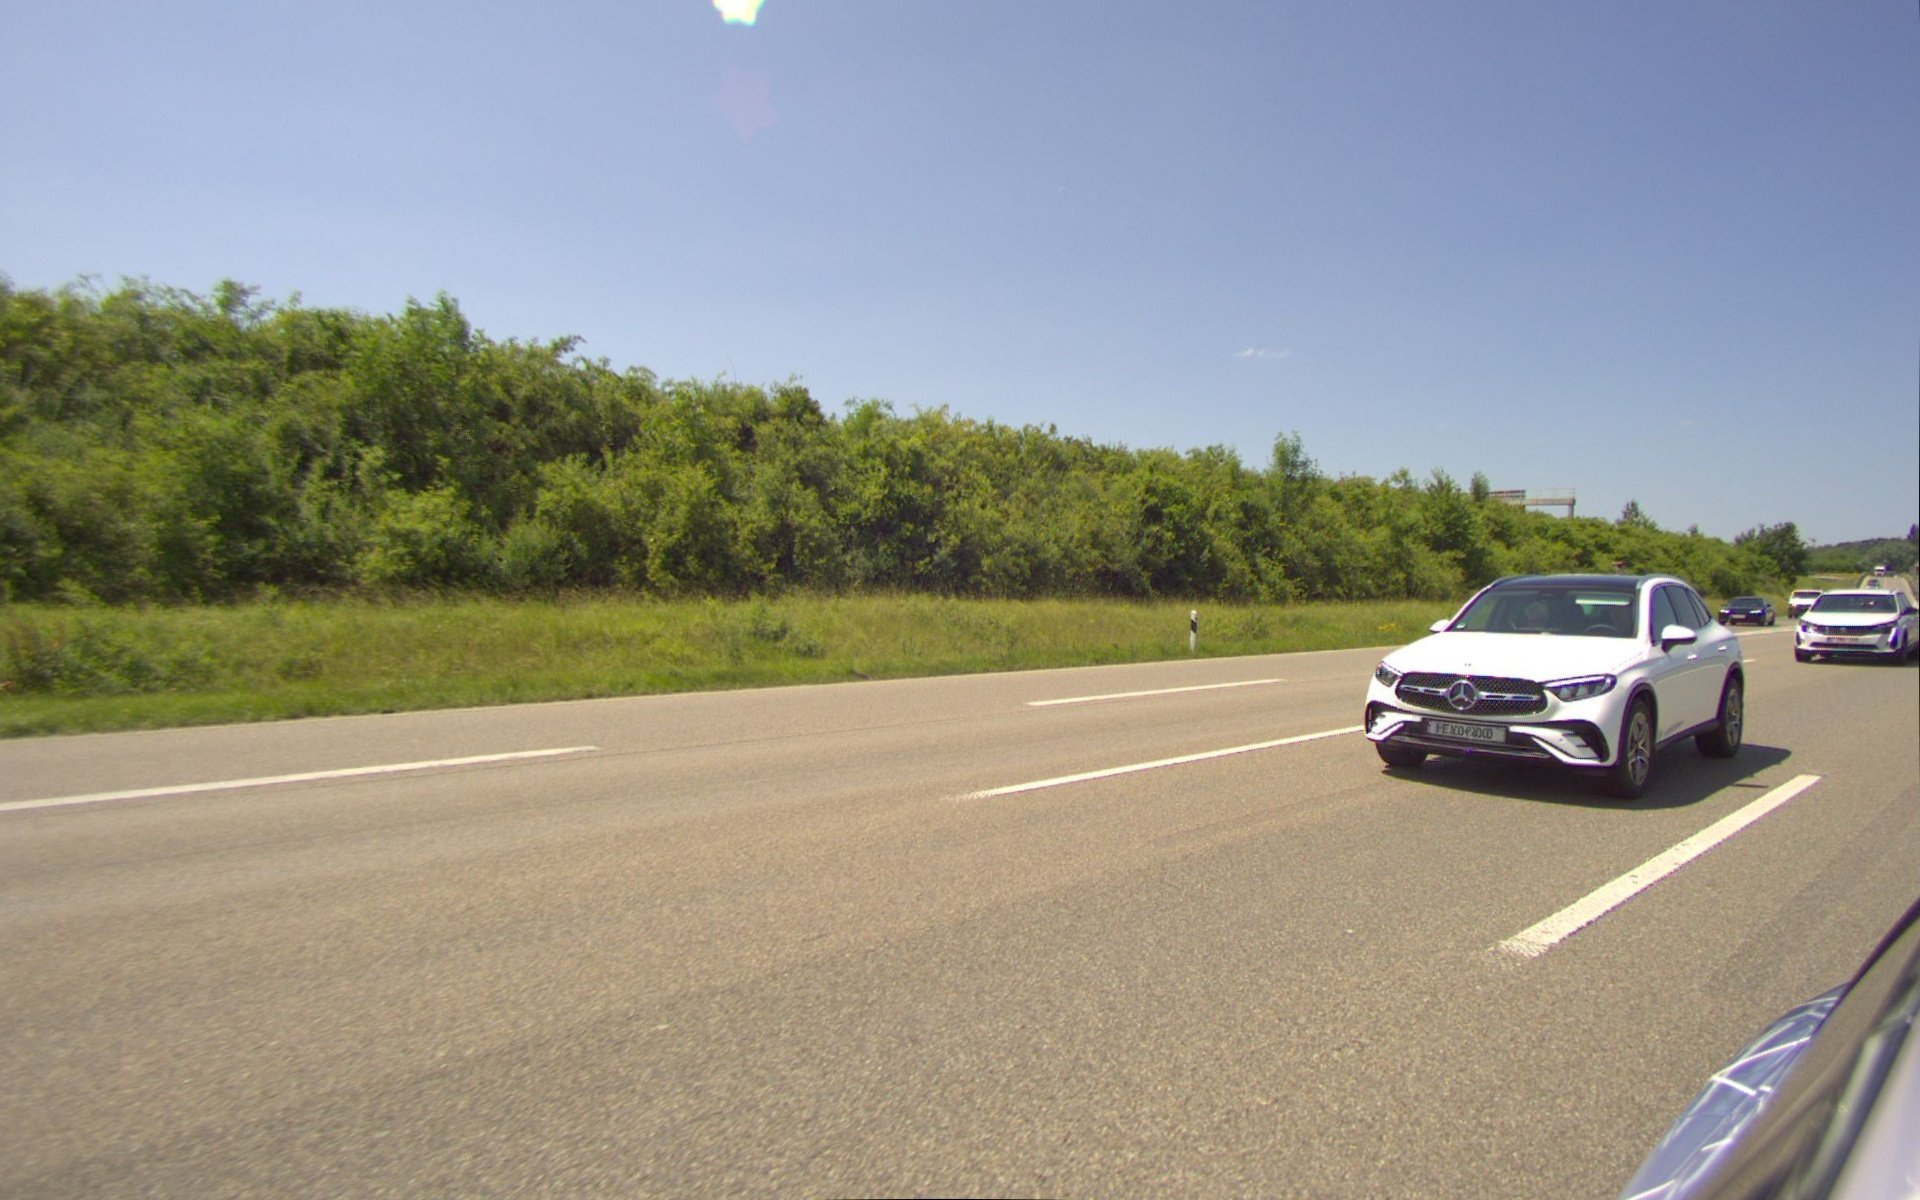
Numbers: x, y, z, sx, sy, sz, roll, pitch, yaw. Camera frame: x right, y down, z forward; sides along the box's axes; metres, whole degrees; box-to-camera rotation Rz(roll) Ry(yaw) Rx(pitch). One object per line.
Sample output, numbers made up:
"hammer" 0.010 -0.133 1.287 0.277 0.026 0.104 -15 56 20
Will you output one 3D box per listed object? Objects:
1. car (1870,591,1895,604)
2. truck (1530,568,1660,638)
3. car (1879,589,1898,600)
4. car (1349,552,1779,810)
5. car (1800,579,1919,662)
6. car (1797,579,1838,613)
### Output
"car" 121.151 -0.353 132.901 4.540 1.650 1.980 -2 1 -43
"truck" 21.072 0.039 33.447 6.016 2.118 2.167 -1 2 -43
"car" 151.676 -0.878 165.282 4.540 1.650 1.980 -2 1 -43
"car" 5.420 0.511 8.809 4.555 1.677 1.908 0 0 -41
"car" 20.572 0.372 22.766 4.538 1.650 1.896 -2 1 -42
"car" 58.043 -0.297 68.458 1.992 2.199 4.820 1 1 42
